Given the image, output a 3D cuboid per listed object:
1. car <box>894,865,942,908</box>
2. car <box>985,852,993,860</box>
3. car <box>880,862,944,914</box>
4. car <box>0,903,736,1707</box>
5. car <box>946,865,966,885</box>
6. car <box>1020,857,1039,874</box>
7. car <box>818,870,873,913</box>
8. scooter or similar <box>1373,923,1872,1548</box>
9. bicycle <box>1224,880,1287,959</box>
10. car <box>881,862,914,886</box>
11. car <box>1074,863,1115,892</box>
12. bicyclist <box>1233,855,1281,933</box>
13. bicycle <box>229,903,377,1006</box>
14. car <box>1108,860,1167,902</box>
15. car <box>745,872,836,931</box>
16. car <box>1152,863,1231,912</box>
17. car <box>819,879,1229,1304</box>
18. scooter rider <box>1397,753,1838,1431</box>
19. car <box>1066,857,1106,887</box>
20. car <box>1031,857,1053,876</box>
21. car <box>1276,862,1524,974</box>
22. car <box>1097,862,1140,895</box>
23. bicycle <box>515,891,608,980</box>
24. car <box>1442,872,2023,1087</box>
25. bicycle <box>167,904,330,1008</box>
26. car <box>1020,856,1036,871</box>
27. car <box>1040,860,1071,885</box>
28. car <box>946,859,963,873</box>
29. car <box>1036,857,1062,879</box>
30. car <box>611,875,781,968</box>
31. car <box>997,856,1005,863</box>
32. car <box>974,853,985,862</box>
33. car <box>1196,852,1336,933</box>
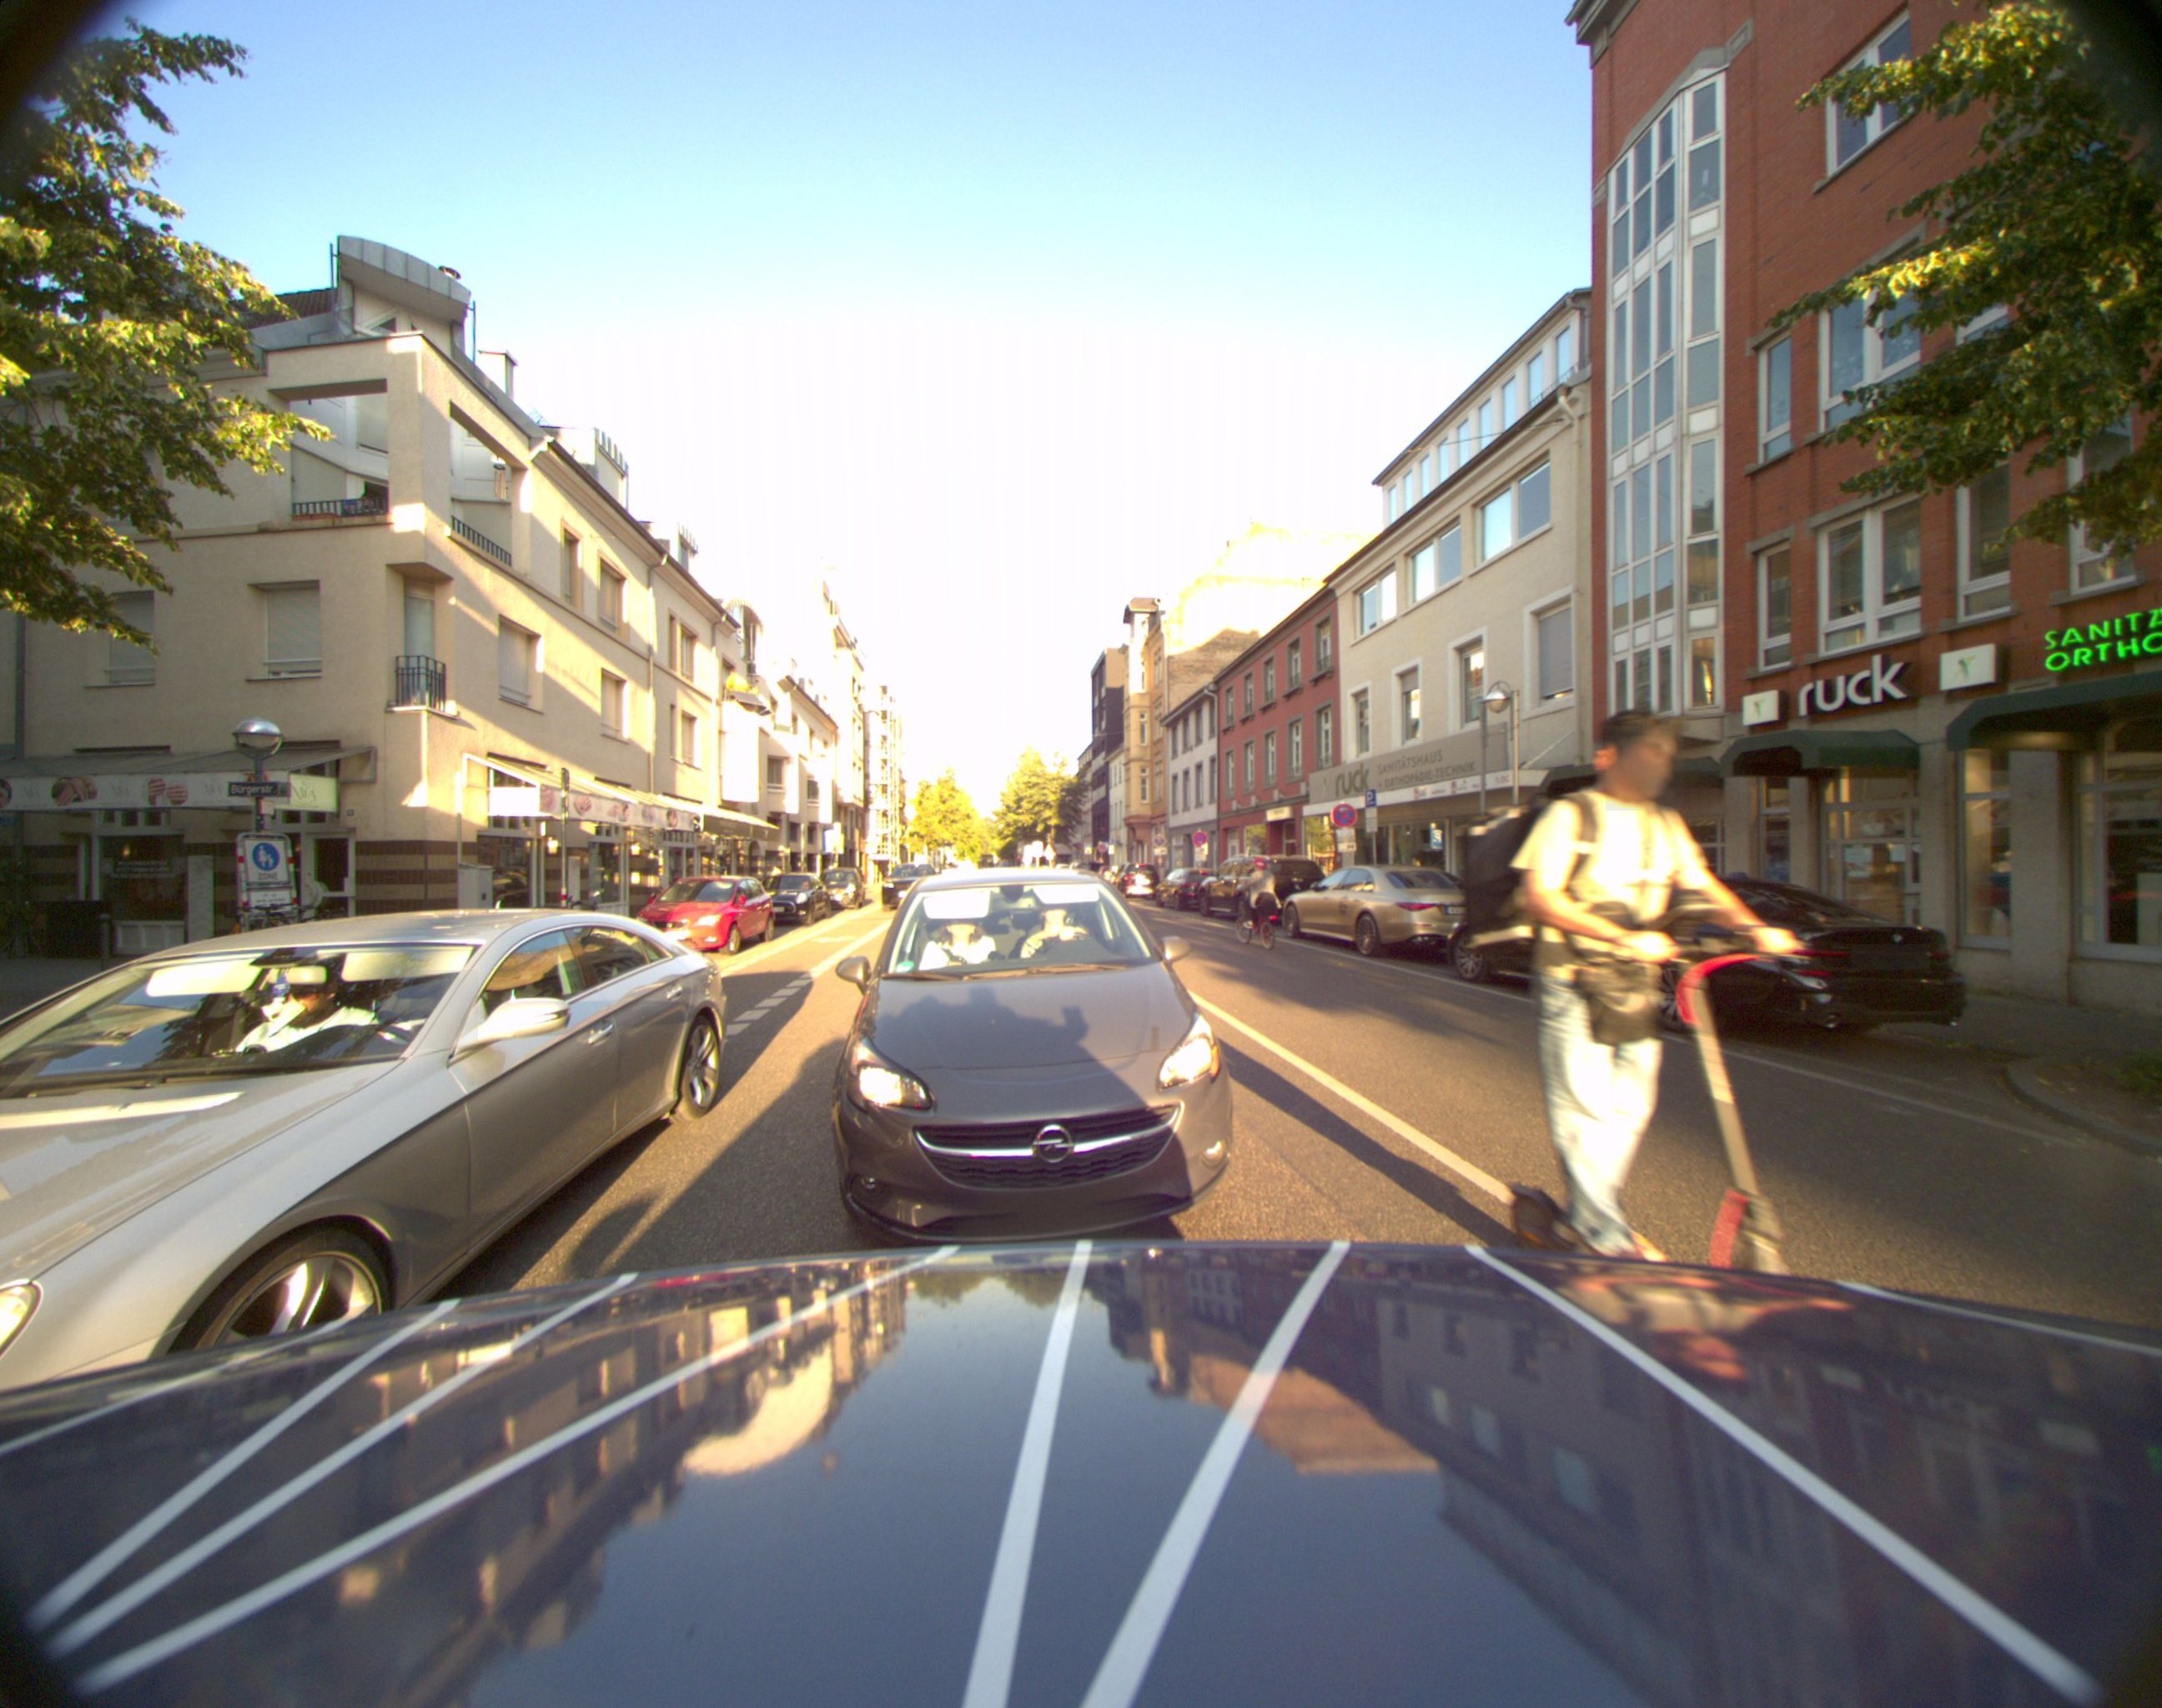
[{"bbox_3d":[-6.700,1.305,31.594,1.692,1.534,3.728,-2,1,-9],"label":"car"},{"bbox_3d":[-19.395,0.357,160.293,1.673,1.630,3.253,-2,1,-7],"label":"car"},{"bbox_3d":[-5.943,1.150,27.085,1.897,1.632,3.747,-1,0,-8],"label":"car"},{"bbox_3d":[-3.056,1.064,2.931,1.791,1.361,4.570,-2,0,-7],"label":"car"},{"bbox_3d":[-11.806,1.971,71.953,1.693,1.644,3.731,-2,1,-8],"label":"car"},{"bbox_3d":[-5.452,1.242,80.599,1.788,1.762,3.870,0,0,-7],"label":"car"},{"bbox_3d":[-8.841,1.365,28.683,1.432,1.442,3.378,-1,0,-8],"label":"car"},{"bbox_3d":[1.607,0.983,2.640,0.545,1.342,1.669,-1,0,1],"label":"scooter or similar"},{"bbox_3d":[3.058,1.119,13.461,0.421,1.230,1.693,-2,1,-10],"label":"bicycle"},{"bbox_3d":[-12.486,1.332,51.822,1.766,1.563,3.870,0,0,-7],"label":"car"},{"bbox_3d":[0.723,1.294,43.791,1.792,1.504,3.775,-1,1,-8],"label":"car"},{"bbox_3d":[3.060,0.681,13.245,0.569,1.295,0.660,-2,1,-9],"label":"bicyclist"},{"bbox_3d":[-10.477,1.297,10.332,0.332,1.123,2.010,0,0,-11],"label":"bicycle"},{"bbox_3d":[2.525,1.184,34.898,1.877,1.718,4.137,-1,0,-8],"label":"car"},{"bbox_3d":[-8.135,1.277,21.586,1.615,1.386,3.692,-2,0,-9],"label":"car"},{"bbox_3d":[3.739,1.096,26.356,1.737,1.515,3.840,0,0,-7],"label":"car"},{"bbox_3d":[-0.531,0.957,4.874,1.588,1.445,3.839,-1,0,-10],"label":"car"},{"bbox_3d":[1.605,0.641,2.427,0.813,1.797,0.788,-2,1,0],"label":"scooter rider"},{"bbox_3d":[0.277,1.101,47.993,1.882,1.667,4.034,-2,1,-8],"label":"car"},{"bbox_3d":[-3.742,1.206,72.260,1.766,1.762,3.870,0,0,-7],"label":"car"},{"bbox_3d":[5.264,0.948,13.453,1.896,1.590,4.942,0,0,-6],"label":"car"},{"bbox_3d":[1.948,1.240,40.025,1.686,1.580,3.514,-1,1,-7],"label":"car"},{"bbox_3d":[-8.232,1.249,12.114,0.505,1.230,1.711,0,0,-8],"label":"bicycle"},{"bbox_3d":[5.894,0.960,7.783,1.805,1.385,4.414,-1,1,-9],"label":"car"},{"bbox_3d":[-11.080,1.303,10.213,0.332,1.123,2.010,-1,1,-11],"label":"bicycle"},{"bbox_3d":[-6.316,1.156,90.228,1.766,1.762,3.870,0,0,-7],"label":"car"},{"bbox_3d":[-1.864,1.281,54.888,1.796,1.606,3.970,-2,1,-7],"label":"car"},{"bbox_3d":[-14.982,1.401,90.009,1.766,1.622,3.870,0,0,-7],"label":"car"},{"bbox_3d":[-2.632,1.109,61.576,1.766,1.762,3.870,0,0,-7],"label":"car"},{"bbox_3d":[-7.238,1.185,14.760,1.654,1.420,3.998,-2,0,-8],"label":"car"},{"bbox_3d":[-21.038,1.486,199.125,1.846,1.796,3.582,-2,1,-2],"label":"car"},{"bbox_3d":[-19.371,0.666,145.171,1.616,1.463,3.225,-2,1,-2],"label":"car"},{"bbox_3d":[4.734,0.932,20.323,1.974,1.873,4.944,-1,-1,-8],"label":"car"}]
